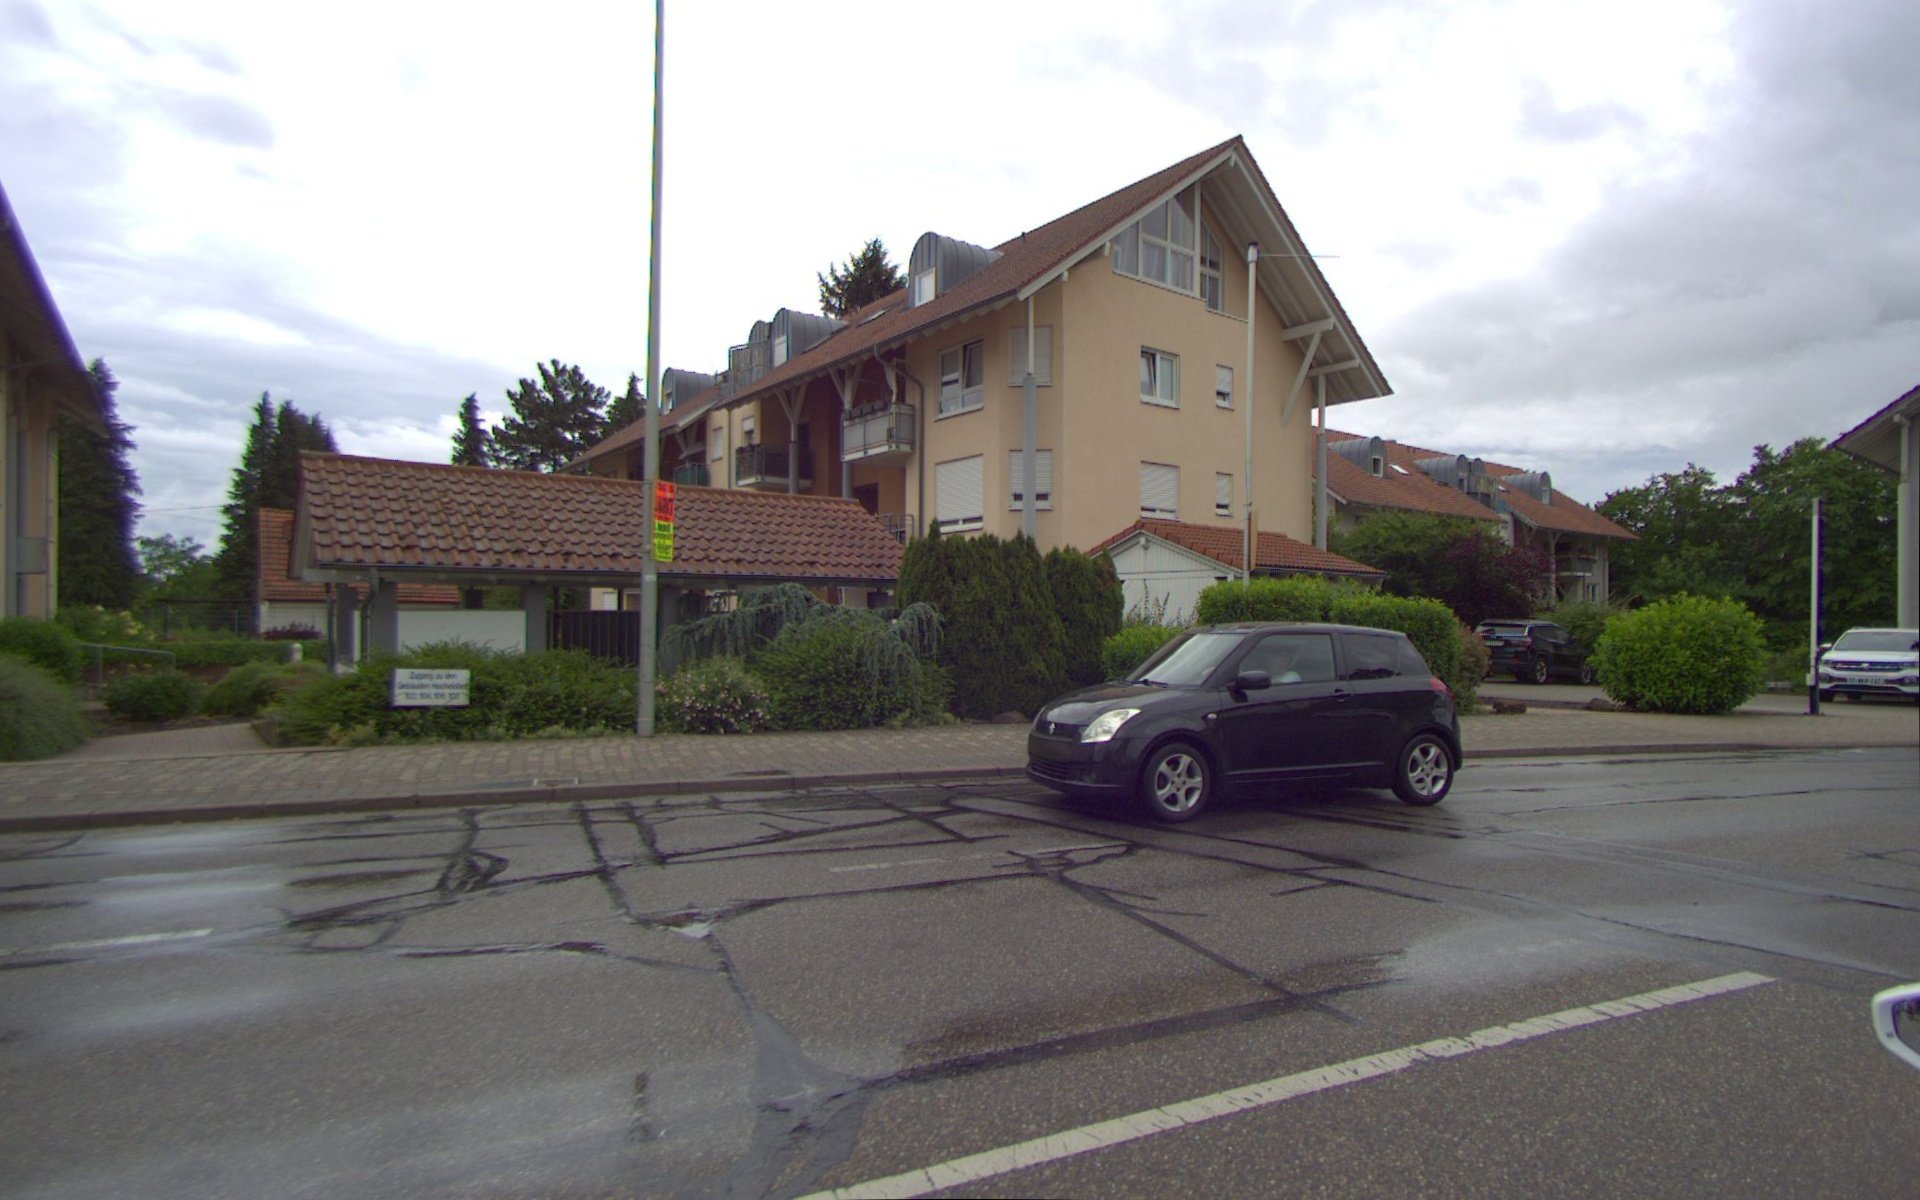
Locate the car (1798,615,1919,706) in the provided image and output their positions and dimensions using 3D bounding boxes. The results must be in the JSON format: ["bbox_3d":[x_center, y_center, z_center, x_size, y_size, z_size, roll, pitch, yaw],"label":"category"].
[{"bbox_3d":[19.402,1.281,21.110,3.966,1.672,1.978,4,-1,-38],"label":"car"}]

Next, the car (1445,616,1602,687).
[{"bbox_3d":[14.963,1.369,26.624,3.957,1.672,1.982,4,-1,-33],"label":"car"}]

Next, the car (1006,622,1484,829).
[{"bbox_3d":[2.363,0.919,8.438,3.639,1.441,1.586,0,-2,-21],"label":"car"}]
